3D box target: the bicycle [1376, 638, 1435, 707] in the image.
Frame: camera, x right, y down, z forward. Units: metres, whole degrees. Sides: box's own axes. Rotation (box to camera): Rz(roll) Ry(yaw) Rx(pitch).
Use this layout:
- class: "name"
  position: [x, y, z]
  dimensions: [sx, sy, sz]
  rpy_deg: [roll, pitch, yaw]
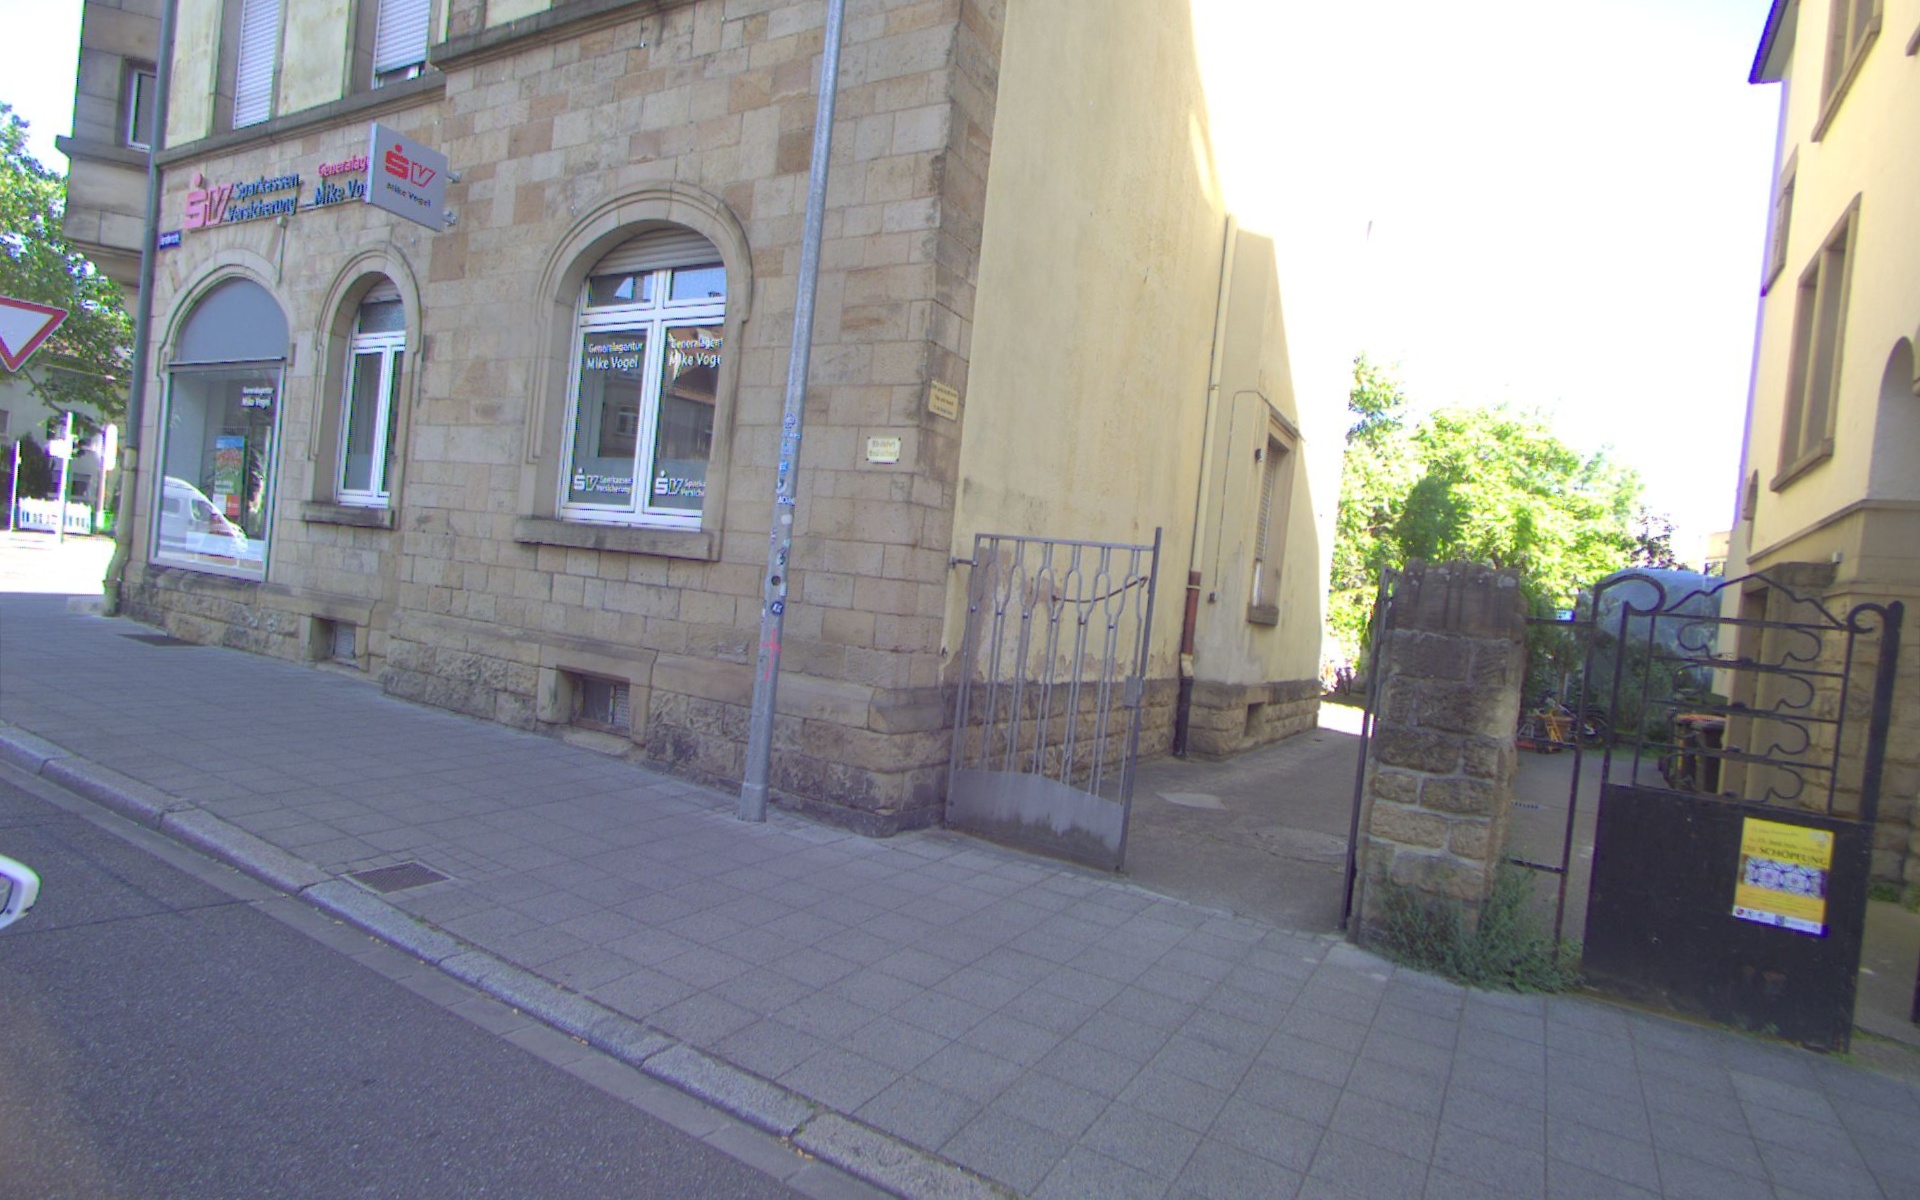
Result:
- class: "bicycle"
  position: [11.210, 1.776, 25.256]
  dimensions: [0.904, 1.532, 2.667]
  rpy_deg: [6, 2, 31]

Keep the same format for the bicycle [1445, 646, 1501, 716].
- class: "bicycle"
  position: [12.595, 1.936, 24.643]
  dimensions: [0.904, 1.532, 2.667]
  rpy_deg: [6, 2, 31]

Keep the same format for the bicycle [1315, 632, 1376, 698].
- class: "bicycle"
  position: [9.976, 1.641, 25.973]
  dimensions: [0.904, 1.532, 2.667]
  rpy_deg: [6, 2, 31]
